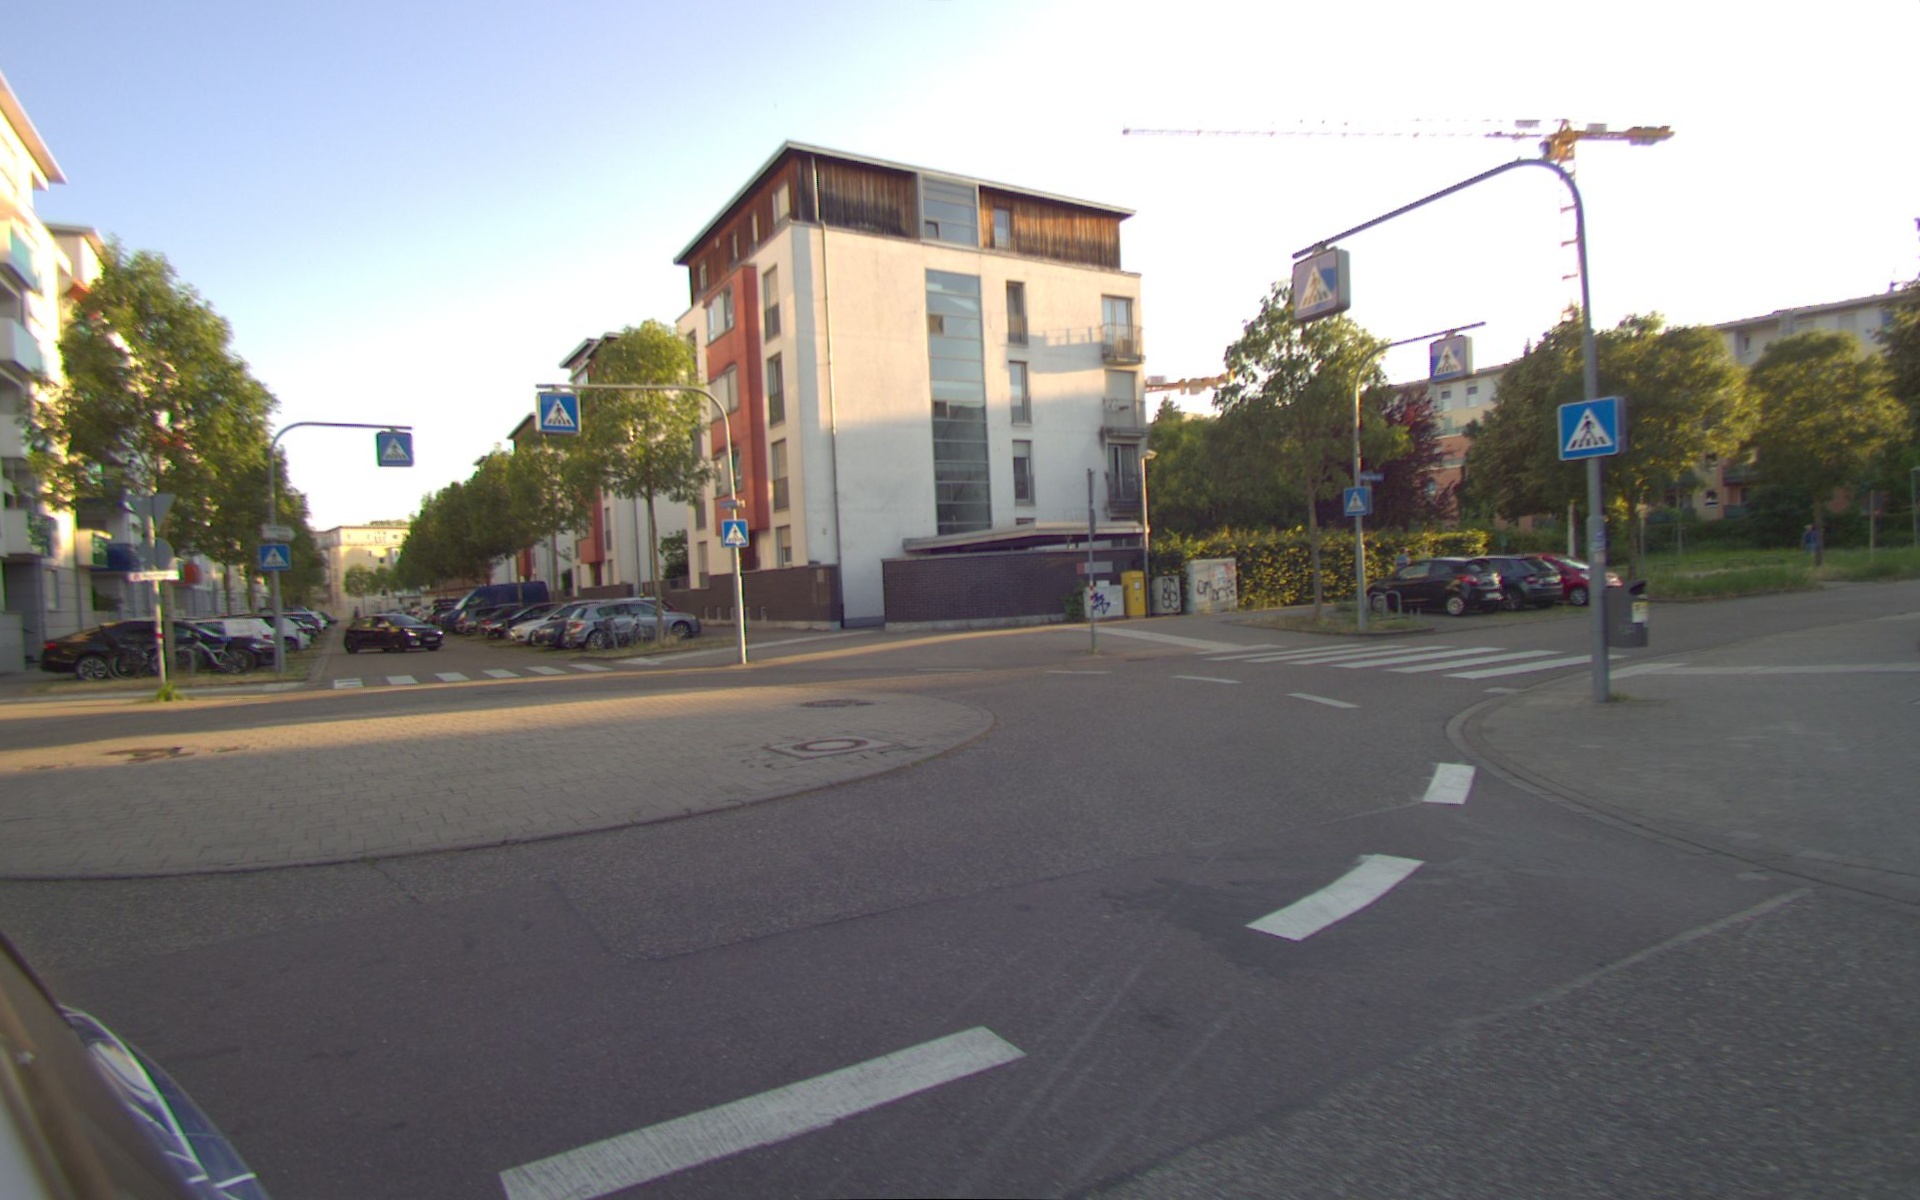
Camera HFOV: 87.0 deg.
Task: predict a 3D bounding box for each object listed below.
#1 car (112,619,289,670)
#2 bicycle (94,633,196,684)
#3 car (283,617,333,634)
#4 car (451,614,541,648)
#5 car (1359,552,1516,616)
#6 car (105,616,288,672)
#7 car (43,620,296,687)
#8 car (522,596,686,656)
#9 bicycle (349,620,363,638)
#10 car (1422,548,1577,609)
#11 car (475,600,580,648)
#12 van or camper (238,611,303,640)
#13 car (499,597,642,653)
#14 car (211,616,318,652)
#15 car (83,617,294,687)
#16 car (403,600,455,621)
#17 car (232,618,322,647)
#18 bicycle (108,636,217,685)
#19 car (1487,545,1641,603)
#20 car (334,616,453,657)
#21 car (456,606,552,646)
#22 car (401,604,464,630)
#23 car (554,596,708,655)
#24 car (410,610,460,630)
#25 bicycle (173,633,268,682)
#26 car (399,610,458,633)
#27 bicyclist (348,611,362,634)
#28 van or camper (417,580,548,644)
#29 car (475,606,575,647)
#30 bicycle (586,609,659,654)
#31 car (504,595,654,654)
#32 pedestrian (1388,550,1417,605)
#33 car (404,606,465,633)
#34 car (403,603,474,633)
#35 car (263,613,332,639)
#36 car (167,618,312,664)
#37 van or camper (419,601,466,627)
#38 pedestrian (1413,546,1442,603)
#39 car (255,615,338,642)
[{"bbox_3d":[-24.137,1.393,32.359,4.222,1.469,1.748,-1,-1,-23],"label":"car"},{"bbox_3d":[-18.527,1.314,23.041,1.764,1.050,0.568,-1,-2,-35],"label":"bicycle"},{"bbox_3d":[-67.077,2.637,104.204,4.181,1.651,1.698,-1,-1,-30],"label":"car"},{"bbox_3d":[-24.314,1.616,53.093,4.036,1.638,1.728,-1,-1,-36],"label":"car"},{"bbox_3d":[12.705,-0.425,27.077,1.662,1.533,3.421,-4,2,-29],"label":"car"},{"bbox_3d":[-22.699,1.271,30.315,4.224,1.505,1.747,-1,-1,-32],"label":"car"},{"bbox_3d":[-19.852,1.288,25.739,4.807,1.469,1.944,-1,-1,-29],"label":"car"},{"bbox_3d":[-11.877,0.832,33.921,4.838,1.489,1.715,-6,2,-33],"label":"car"},{"bbox_3d":[-44.987,2.159,75.326,0.759,1.276,1.786,-4,0,-33],"label":"bicycle"},{"bbox_3d":[14.799,-0.574,27.925,1.567,1.511,3.421,-4,2,-29],"label":"car"},{"bbox_3d":[-18.962,1.028,44.434,3.857,1.723,1.728,-5,1,-36],"label":"car"},{"bbox_3d":[-55.283,2.048,81.212,4.182,2.228,1.697,-1,-1,-32],"label":"van or camper"},{"bbox_3d":[-14.759,0.915,38.445,4.685,1.596,1.763,-6,2,-35],"label":"car"},{"bbox_3d":[-32.391,1.571,47.190,4.036,1.520,1.670,-1,-1,-36],"label":"car"},{"bbox_3d":[-21.201,1.388,28.057,4.341,1.519,1.748,-4,1,-28],"label":"car"},{"bbox_3d":[-48.909,0.962,93.259,4.181,1.800,1.698,-1,-1,-30],"label":"car"},{"bbox_3d":[-39.195,1.853,58.186,4.181,1.548,1.698,-1,-1,-30],"label":"car"},{"bbox_3d":[-18.926,1.418,24.059,2.002,1.054,0.474,-1,-2,-35],"label":"bicycle"},{"bbox_3d":[17.211,-0.712,28.989,1.567,1.511,3.421,-4,2,-29],"label":"car"},{"bbox_3d":[-21.549,1.386,38.477,4.150,1.474,1.765,-2,-1,23],"label":"car"},{"bbox_3d":[-22.692,1.266,50.413,4.038,1.637,1.728,-5,1,-36],"label":"car"},{"bbox_3d":[-40.986,1.335,78.676,4.182,1.945,1.697,-1,-1,-32],"label":"car"},{"bbox_3d":[-10.324,0.767,31.844,4.223,1.468,1.685,-5,1,-33],"label":"car"},{"bbox_3d":[-50.957,1.924,98.252,4.181,1.800,1.698,-1,-1,-30],"label":"car"},{"bbox_3d":[-17.726,1.358,24.293,1.810,1.080,0.474,-1,-2,-35],"label":"bicycle"},{"bbox_3d":[-43.664,1.754,83.149,4.182,1.800,1.697,-1,-1,-32],"label":"car"},{"bbox_3d":[-45.033,1.680,75.352,0.755,1.639,0.665,-4,0,-33],"label":"bicyclist"},{"bbox_3d":[-27.112,0.667,57.559,6.215,3.109,2.448,-5,1,-36],"label":"van or camper"},{"bbox_3d":[-19.982,1.203,46.491,3.857,1.526,1.728,-5,1,-36],"label":"car"},{"bbox_3d":[-9.681,0.889,29.046,1.793,1.074,0.568,-8,2,-34],"label":"bicycle"},{"bbox_3d":[-13.549,0.843,36.060,4.708,1.566,1.716,-6,2,-28],"label":"car"},{"bbox_3d":[13.673,-0.697,31.263,0.655,1.611,0.705,-3,2,33],"label":"pedestrian"},{"bbox_3d":[-41.830,1.562,80.597,4.182,2.018,1.697,-1,-1,-32],"label":"car"},{"bbox_3d":[-36.036,1.242,69.966,4.182,1.945,1.697,-1,-1,-32],"label":"car"},{"bbox_3d":[-48.730,1.906,74.510,4.181,1.792,1.698,-1,-1,-30],"label":"car"},{"bbox_3d":[-26.171,1.453,36.909,4.225,1.519,1.690,-1,-1,-35],"label":"car"},{"bbox_3d":[-52.720,1.389,103.062,4.182,2.554,1.766,-1,-1,-31],"label":"van or camper"},{"bbox_3d":[14.325,-0.775,31.004,0.623,1.679,0.735,-3,3,35],"label":"pedestrian"},{"bbox_3d":[-41.261,1.769,63.039,4.181,1.548,1.698,-1,-1,-30],"label":"car"}]
